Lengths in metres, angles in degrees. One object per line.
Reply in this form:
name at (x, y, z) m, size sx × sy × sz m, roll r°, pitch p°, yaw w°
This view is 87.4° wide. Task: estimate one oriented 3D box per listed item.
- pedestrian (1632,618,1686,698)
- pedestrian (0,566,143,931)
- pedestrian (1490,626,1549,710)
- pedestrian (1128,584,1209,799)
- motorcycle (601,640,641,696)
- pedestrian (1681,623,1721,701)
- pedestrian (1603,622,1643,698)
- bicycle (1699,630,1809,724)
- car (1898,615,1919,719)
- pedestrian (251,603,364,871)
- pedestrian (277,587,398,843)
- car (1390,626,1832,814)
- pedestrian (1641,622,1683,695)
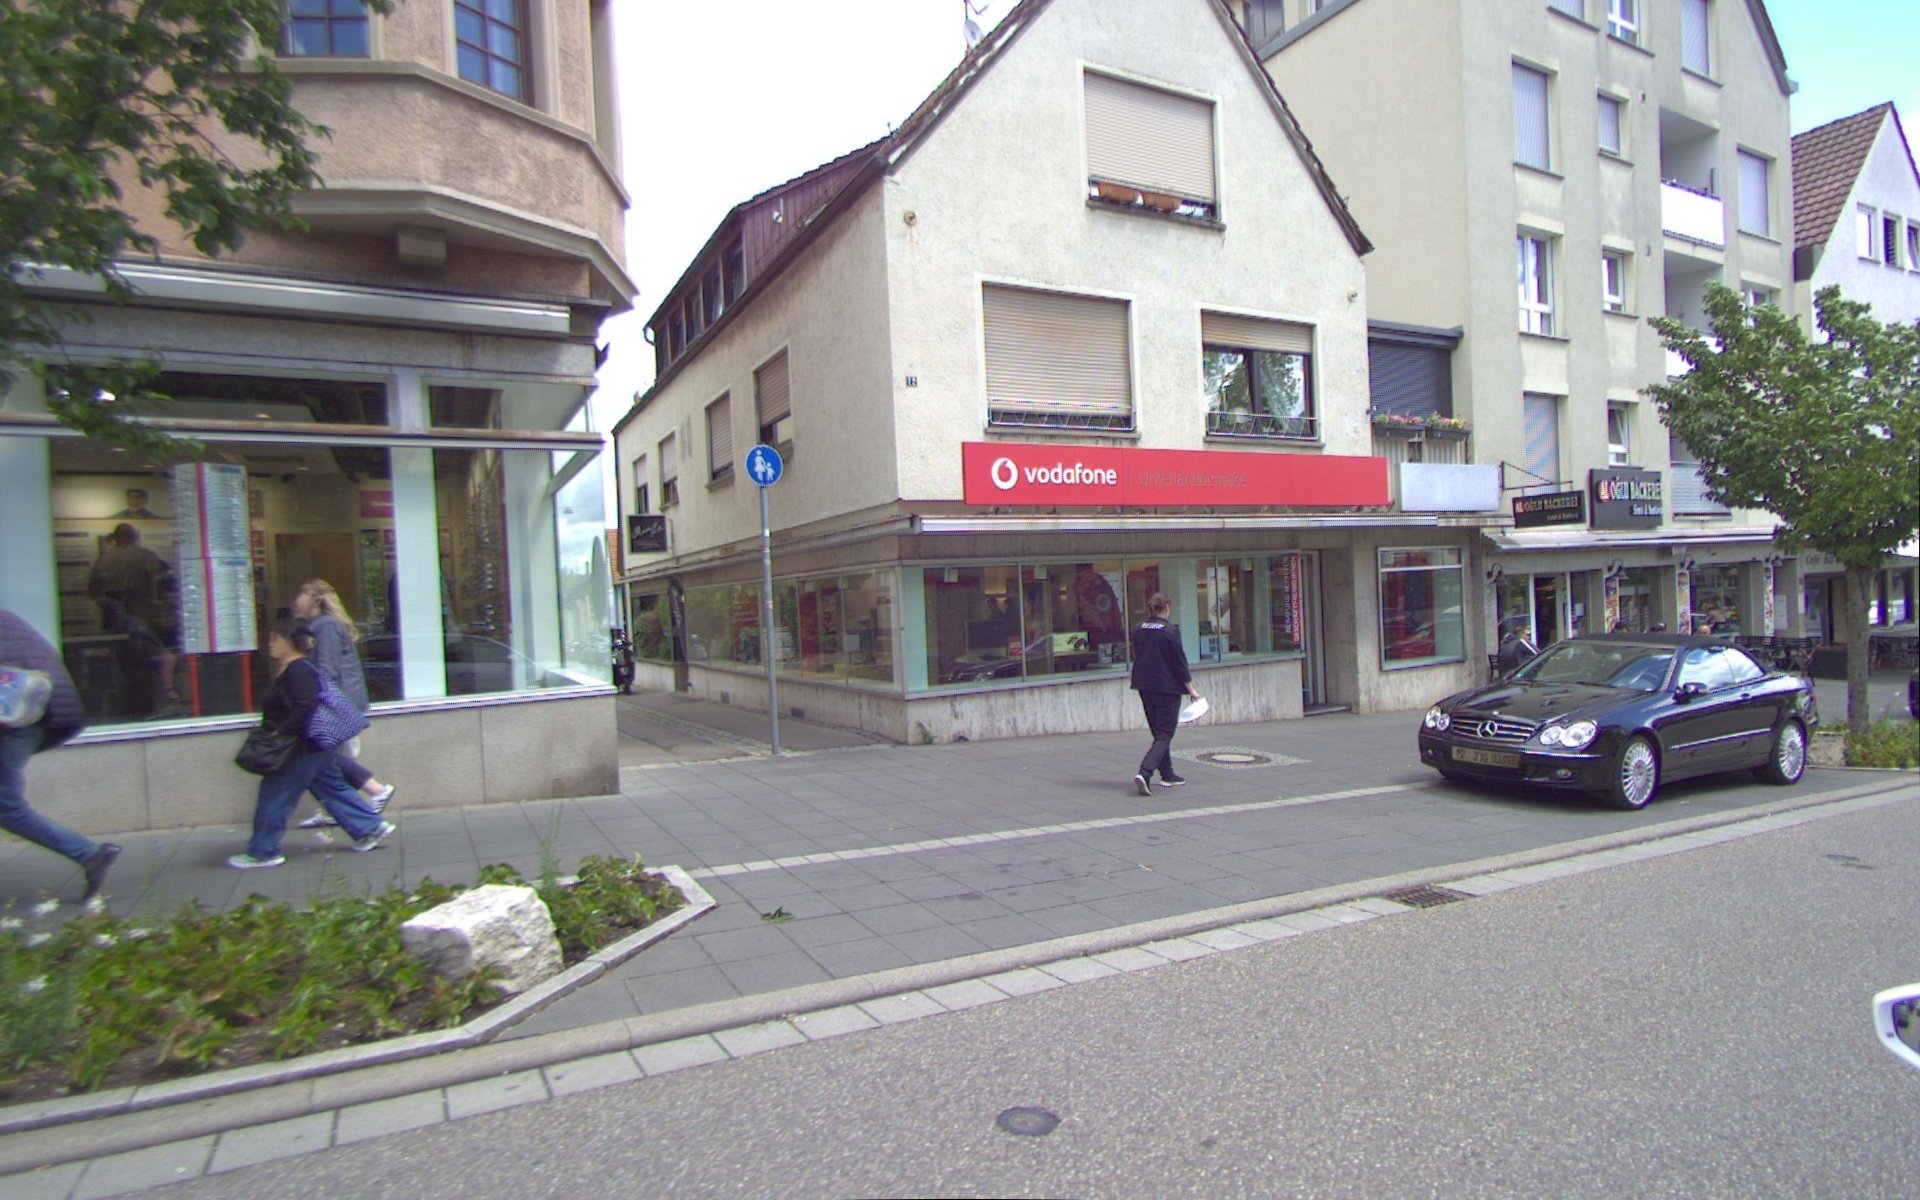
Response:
pedestrian at (11.646, 0.954, 16.742) m, size 0.591 × 1.284 × 0.547 m, roll 0°, pitch 0°, yaw -29°
pedestrian at (-4.724, 0.691, 4.982) m, size 0.896 × 1.688 × 0.866 m, roll 1°, pitch -1°, yaw -32°
pedestrian at (8.788, 1.050, 15.775) m, size 0.591 × 1.263 × 0.593 m, roll 0°, pitch 0°, yaw -29°
pedestrian at (1.813, 0.768, 8.786) m, size 0.649 × 1.784 × 0.778 m, roll 1°, pitch -1°, yaw 10°
motorcycle at (-7.701, 1.533, 22.757) m, size 0.635 × 1.207 × 2.178 m, roll 1°, pitch -4°, yaw -24°
pedestrian at (12.930, 1.069, 17.522) m, size 0.448 × 1.317 × 0.419 m, roll -1°, pitch 1°, yaw -29°
pedestrian at (11.432, 1.027, 17.319) m, size 0.494 × 1.266 × 0.393 m, roll -1°, pitch 1°, yaw -29°
bicycle at (10.336, 0.969, 13.052) m, size 1.886 × 1.121 × 0.481 m, roll 0°, pitch 0°, yaw -31°
car at (15.844, 0.977, 14.974) m, size 4.470 × 1.470 × 1.827 m, roll 0°, pitch 0°, yaw -35°
pedestrian at (-3.856, 0.770, 5.968) m, size 0.522 × 1.497 × 0.493 m, roll 1°, pitch -1°, yaw -32°
pedestrian at (-4.145, 0.726, 6.714) m, size 0.635 × 1.603 × 0.610 m, roll 1°, pitch -1°, yaw -32°
car at (6.215, 0.969, 9.472) m, size 4.389 × 1.410 × 1.650 m, roll 1°, pitch -1°, yaw -29°
pedestrian at (12.663, 1.043, 18.123) m, size 0.560 × 1.266 × 0.425 m, roll -1°, pitch 1°, yaw -29°
